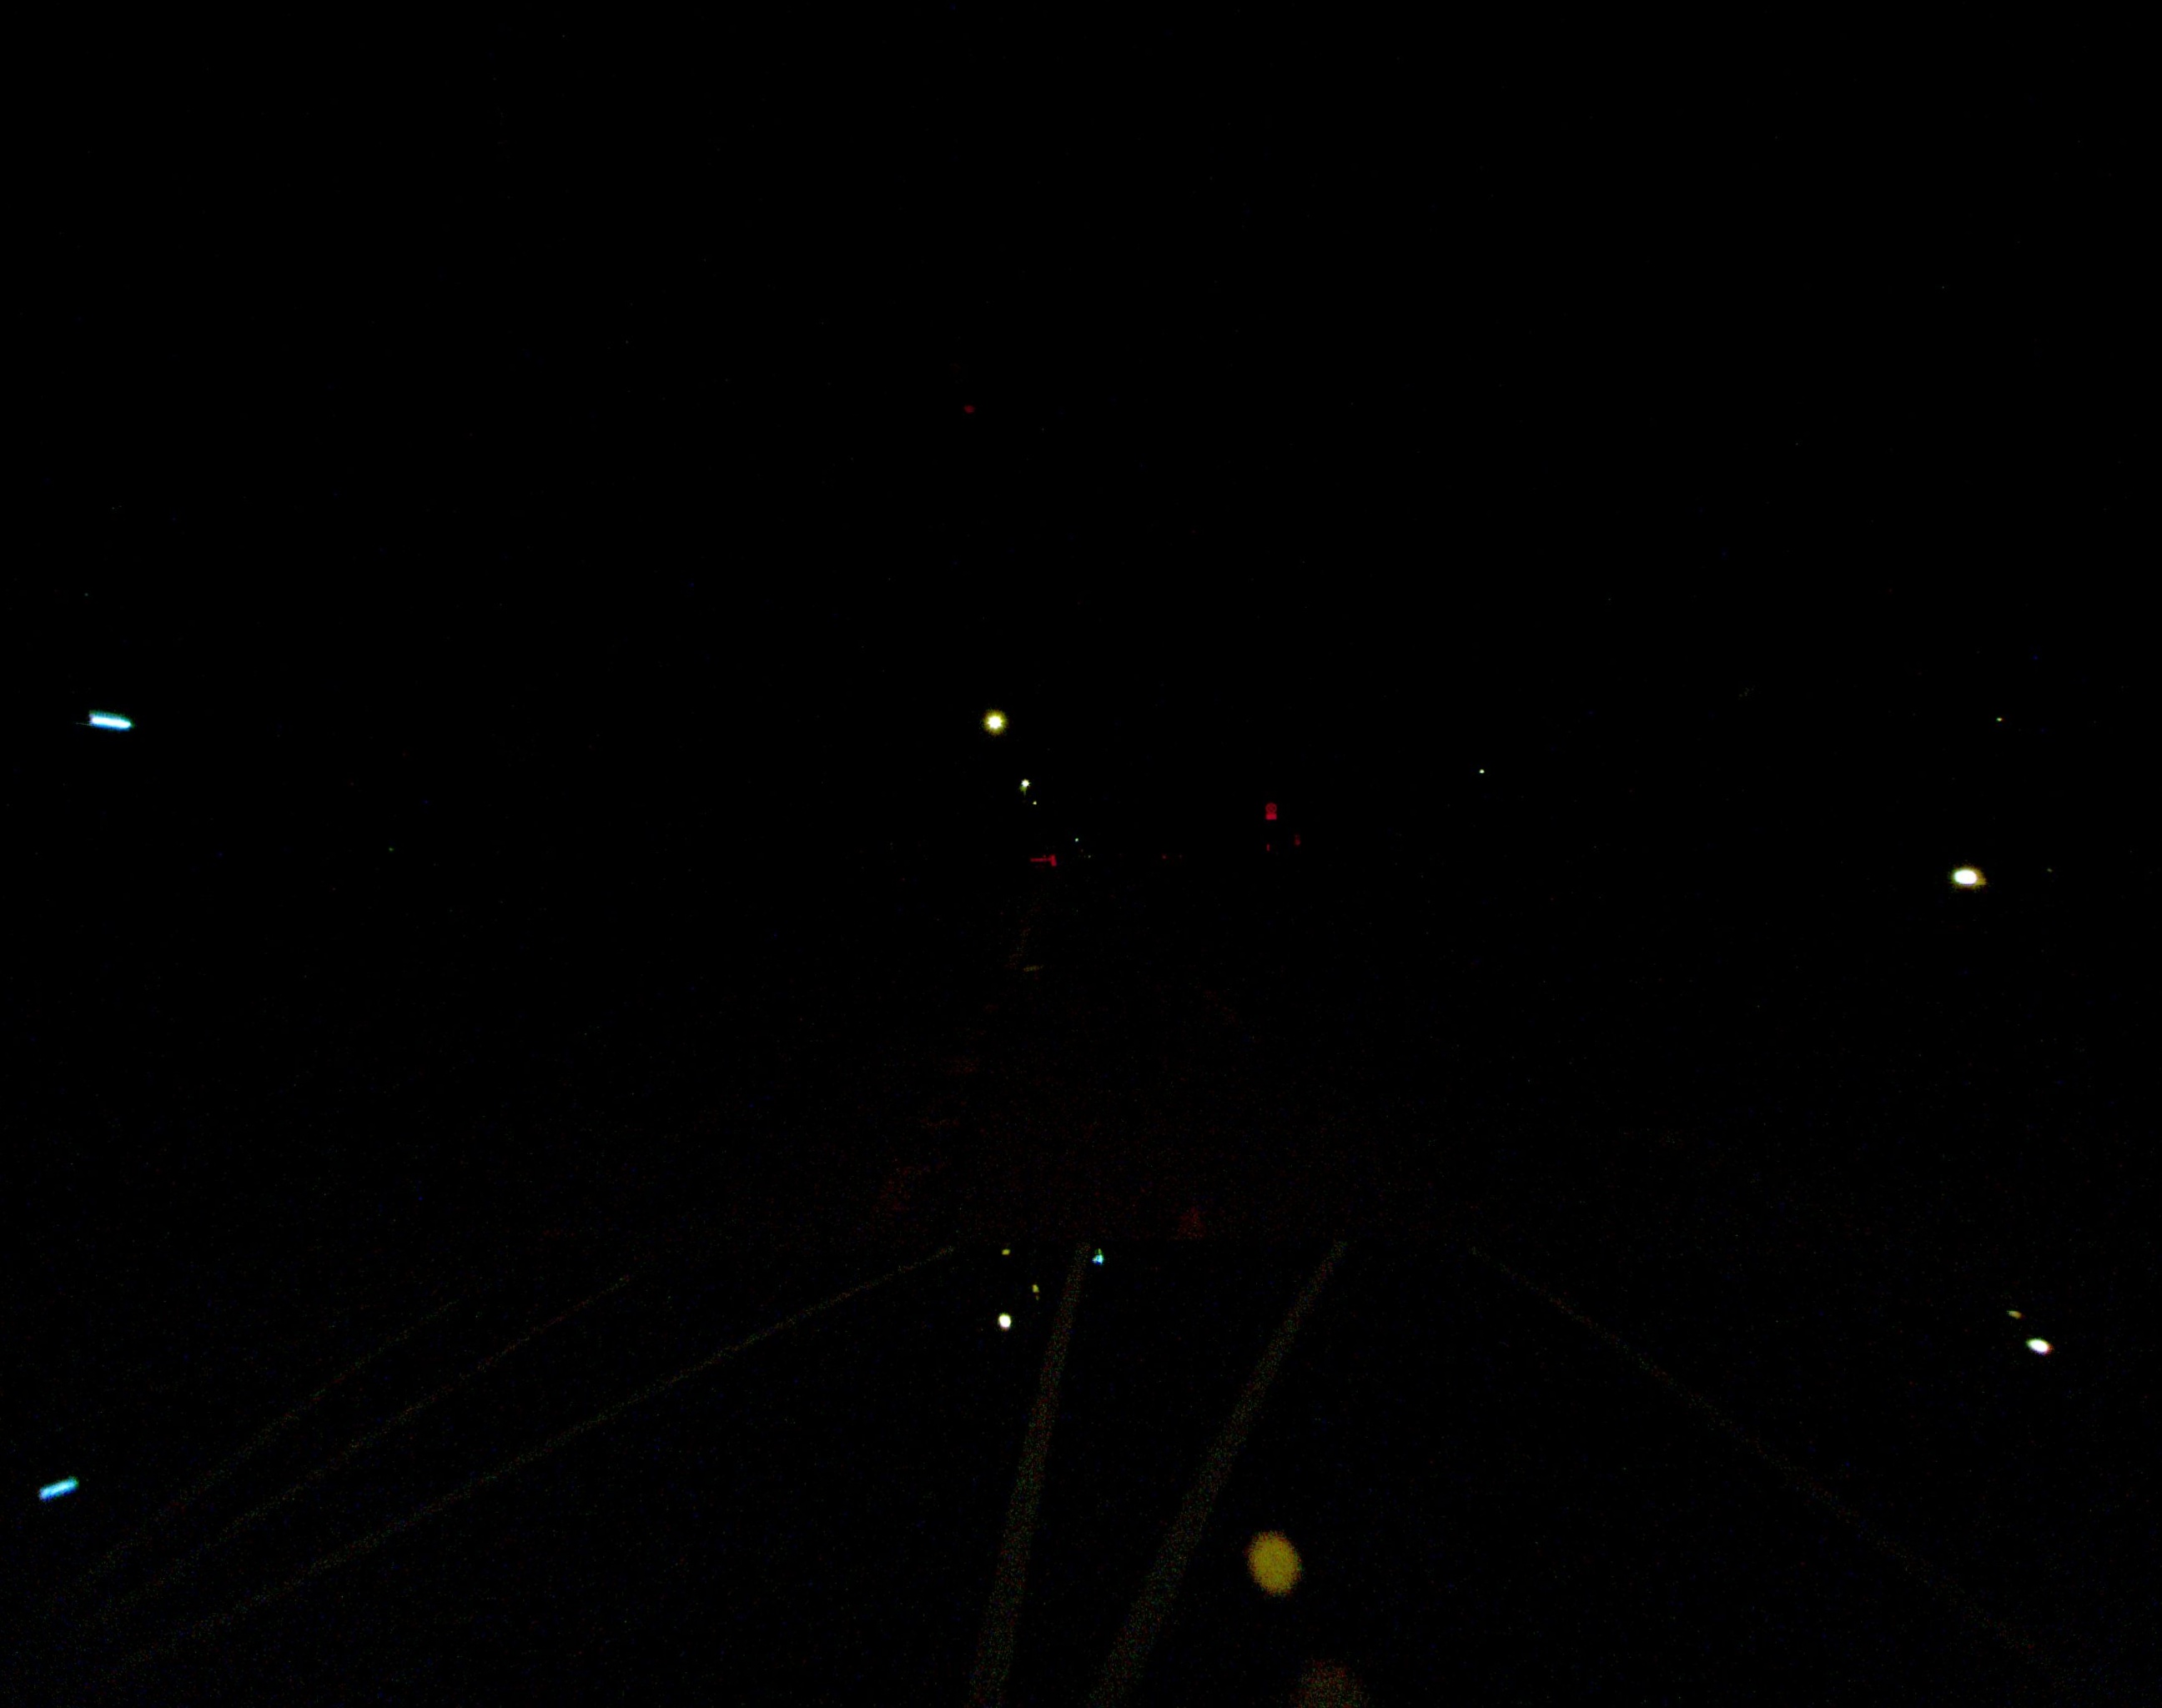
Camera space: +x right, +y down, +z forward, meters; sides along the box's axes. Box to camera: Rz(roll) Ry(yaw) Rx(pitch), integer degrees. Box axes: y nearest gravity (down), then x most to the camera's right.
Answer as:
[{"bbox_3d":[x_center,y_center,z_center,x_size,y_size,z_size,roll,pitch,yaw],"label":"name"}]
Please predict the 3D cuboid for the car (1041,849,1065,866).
[{"bbox_3d":[-2.885,0.328,78.211,1.998,1.638,4.000,1,1,4],"label":"car"}]

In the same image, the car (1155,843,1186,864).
[{"bbox_3d":[7.135,-0.051,60.816,1.806,1.583,3.999,-2,1,-1],"label":"car"}]

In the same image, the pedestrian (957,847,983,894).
[{"bbox_3d":[-4.514,0.644,31.074,0.819,1.854,1.034,-2,1,1],"label":"pedestrian"}]

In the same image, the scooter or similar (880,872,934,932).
[{"bbox_3d":[-3.671,0.996,16.099,0.468,1.195,1.137,-2,0,24],"label":"scooter or similar"}]

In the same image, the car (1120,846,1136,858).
[{"bbox_3d":[6.248,-0.289,100.473,1.863,1.484,4.080,-2,1,1],"label":"car"}]

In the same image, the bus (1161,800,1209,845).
[{"bbox_3d":[17.481,-5.108,129.093,6.135,6.898,14.781,-2,1,1],"label":"bus"}]
